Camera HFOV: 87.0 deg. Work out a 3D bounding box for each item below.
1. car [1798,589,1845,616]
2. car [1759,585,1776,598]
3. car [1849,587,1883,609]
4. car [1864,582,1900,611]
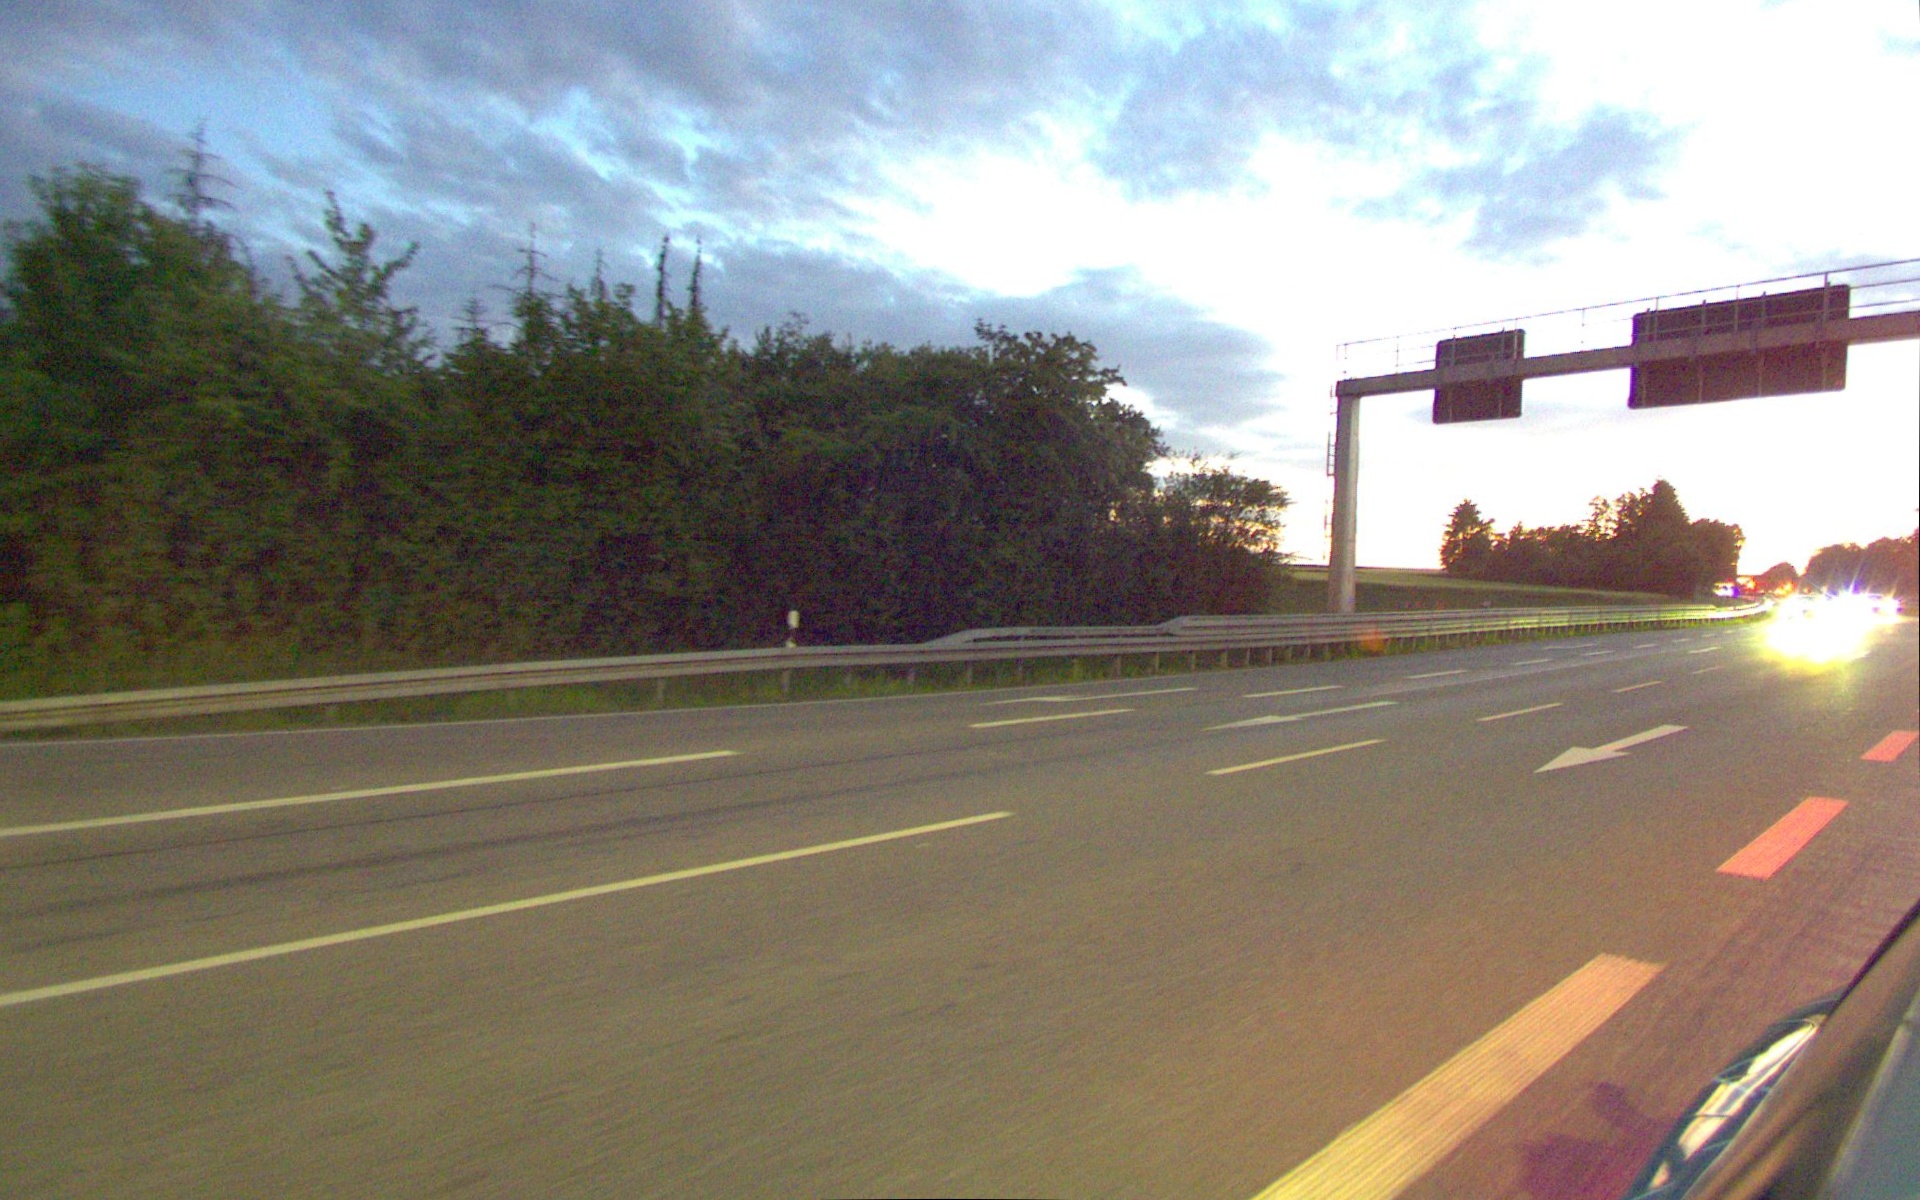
[{"bbox_3d":[53.333,0.150,62.633,1.993,1.604,3.937,0,0,43],"label":"car"},{"bbox_3d":[108.838,-1.146,136.401,1.848,1.642,3.943,1,0,39],"label":"car"},{"bbox_3d":[74.865,-0.193,83.630,1.824,1.772,3.796,-1,-1,39],"label":"car"},{"bbox_3d":[67.383,-0.281,73.925,1.857,2.039,3.938,-1,0,43],"label":"car"}]
